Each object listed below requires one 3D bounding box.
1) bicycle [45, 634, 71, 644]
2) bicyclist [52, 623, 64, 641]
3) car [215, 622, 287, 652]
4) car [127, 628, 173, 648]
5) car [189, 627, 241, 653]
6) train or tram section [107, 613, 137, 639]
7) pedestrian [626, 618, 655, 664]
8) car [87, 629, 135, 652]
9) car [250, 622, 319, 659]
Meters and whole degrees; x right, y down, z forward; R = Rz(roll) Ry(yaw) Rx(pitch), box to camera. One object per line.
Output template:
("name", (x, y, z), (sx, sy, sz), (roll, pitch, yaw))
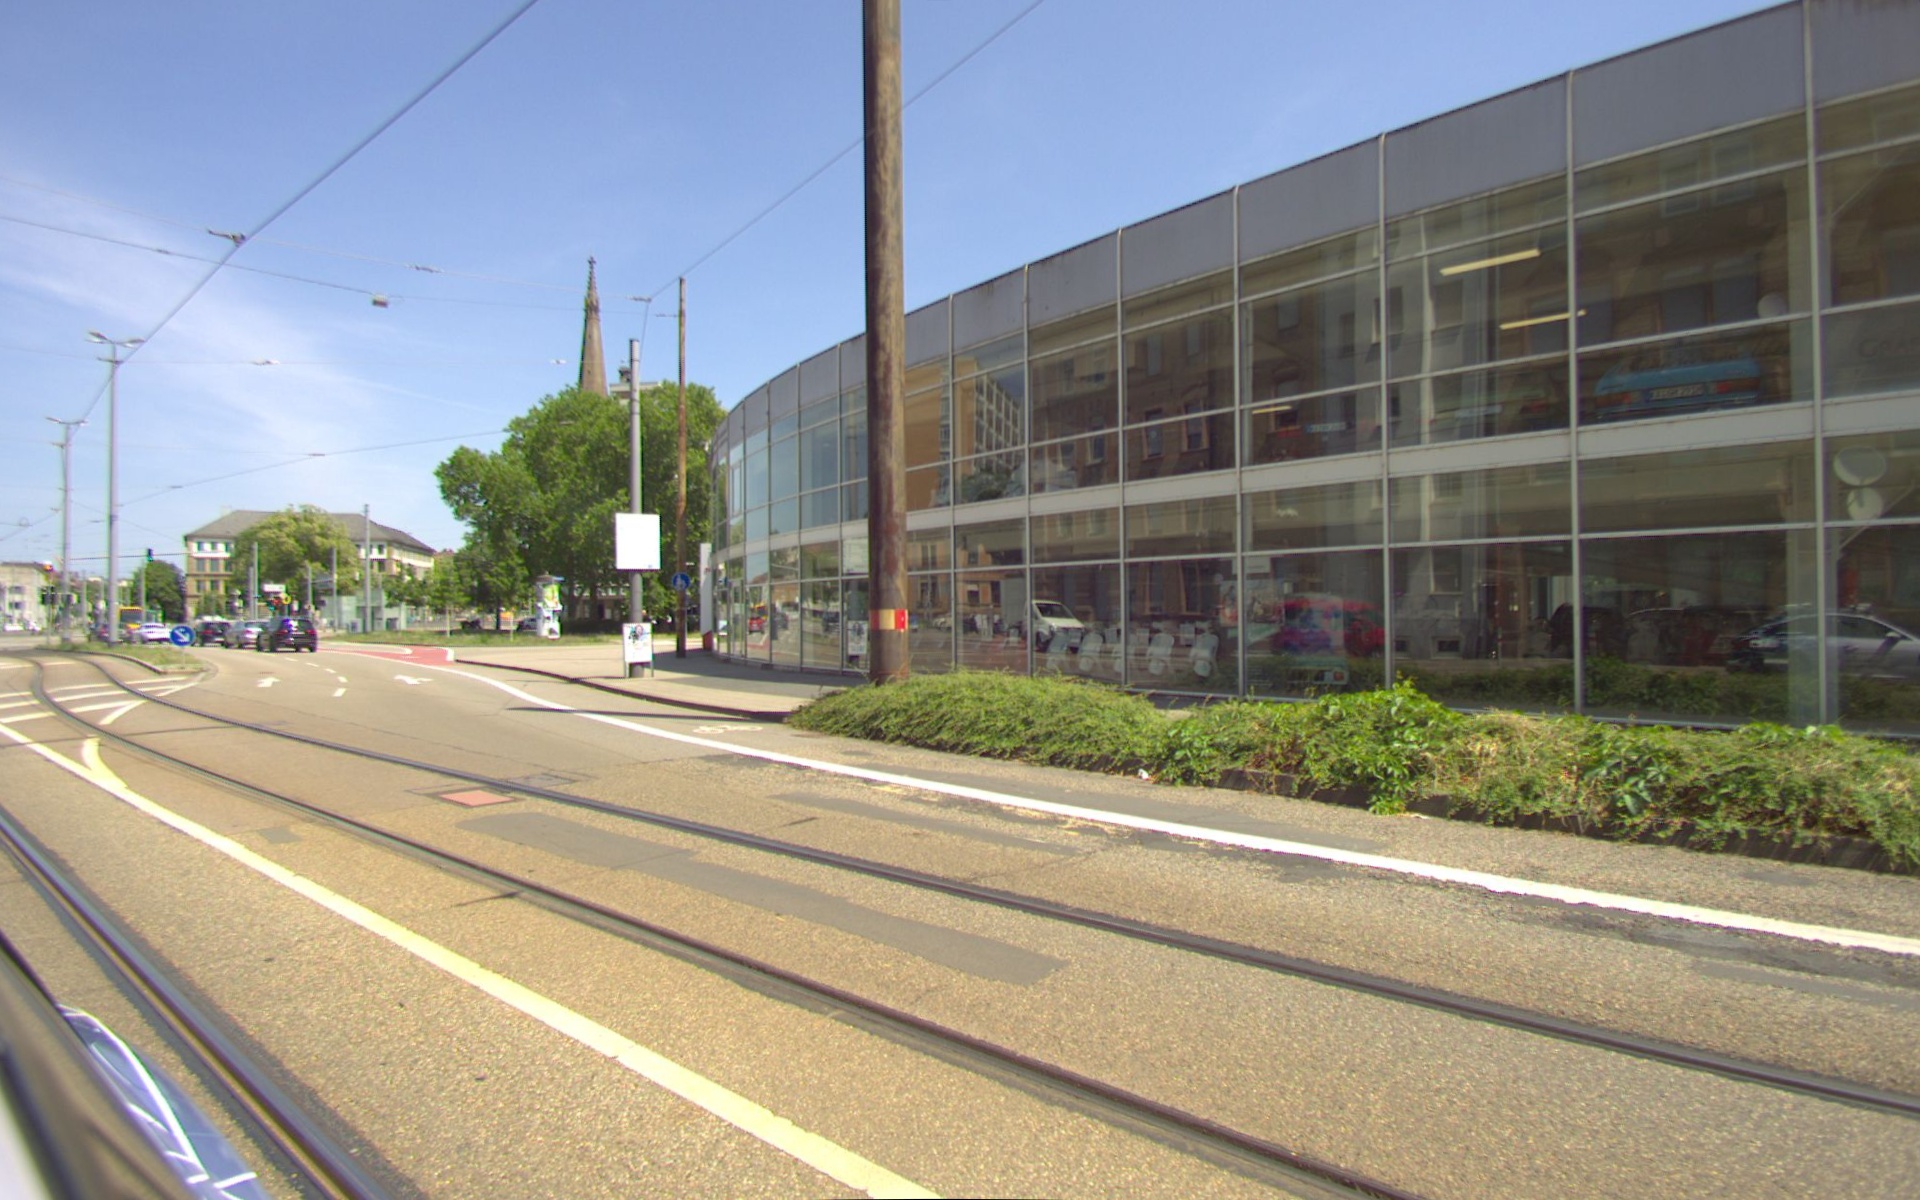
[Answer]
("bicycle", (-89.501, 3.857, 100.410), (0.528, 0.986, 1.883), (-2, -1, 36))
("bicyclist", (-89.512, 3.168, 100.435), (0.528, 1.701, 0.803), (-2, -1, 37))
("car", (-37.885, 1.970, 54.021), (5.129, 1.542, 1.972), (-1, -3, 42))
("car", (-55.622, 2.621, 69.478), (4.201, 1.309, 1.689), (-1, -3, 41))
("car", (-43.445, 2.294, 59.006), (3.901, 1.473, 1.653), (-2, -2, 41))
("train or tram section", (-105.512, 3.281, 127.565), (2.799, 3.238, 9.126), (0, -1, -39))
("pedestrian", (-11.620, 1.484, 36.774), (0.820, 1.654, 0.719), (-2, -2, 45))
("car", (-54.830, 2.615, 65.304), (4.329, 1.491, 1.823), (-2, -3, 43))
("car", (-32.149, 1.909, 48.139), (4.527, 1.639, 1.801), (-2, -3, 44))
